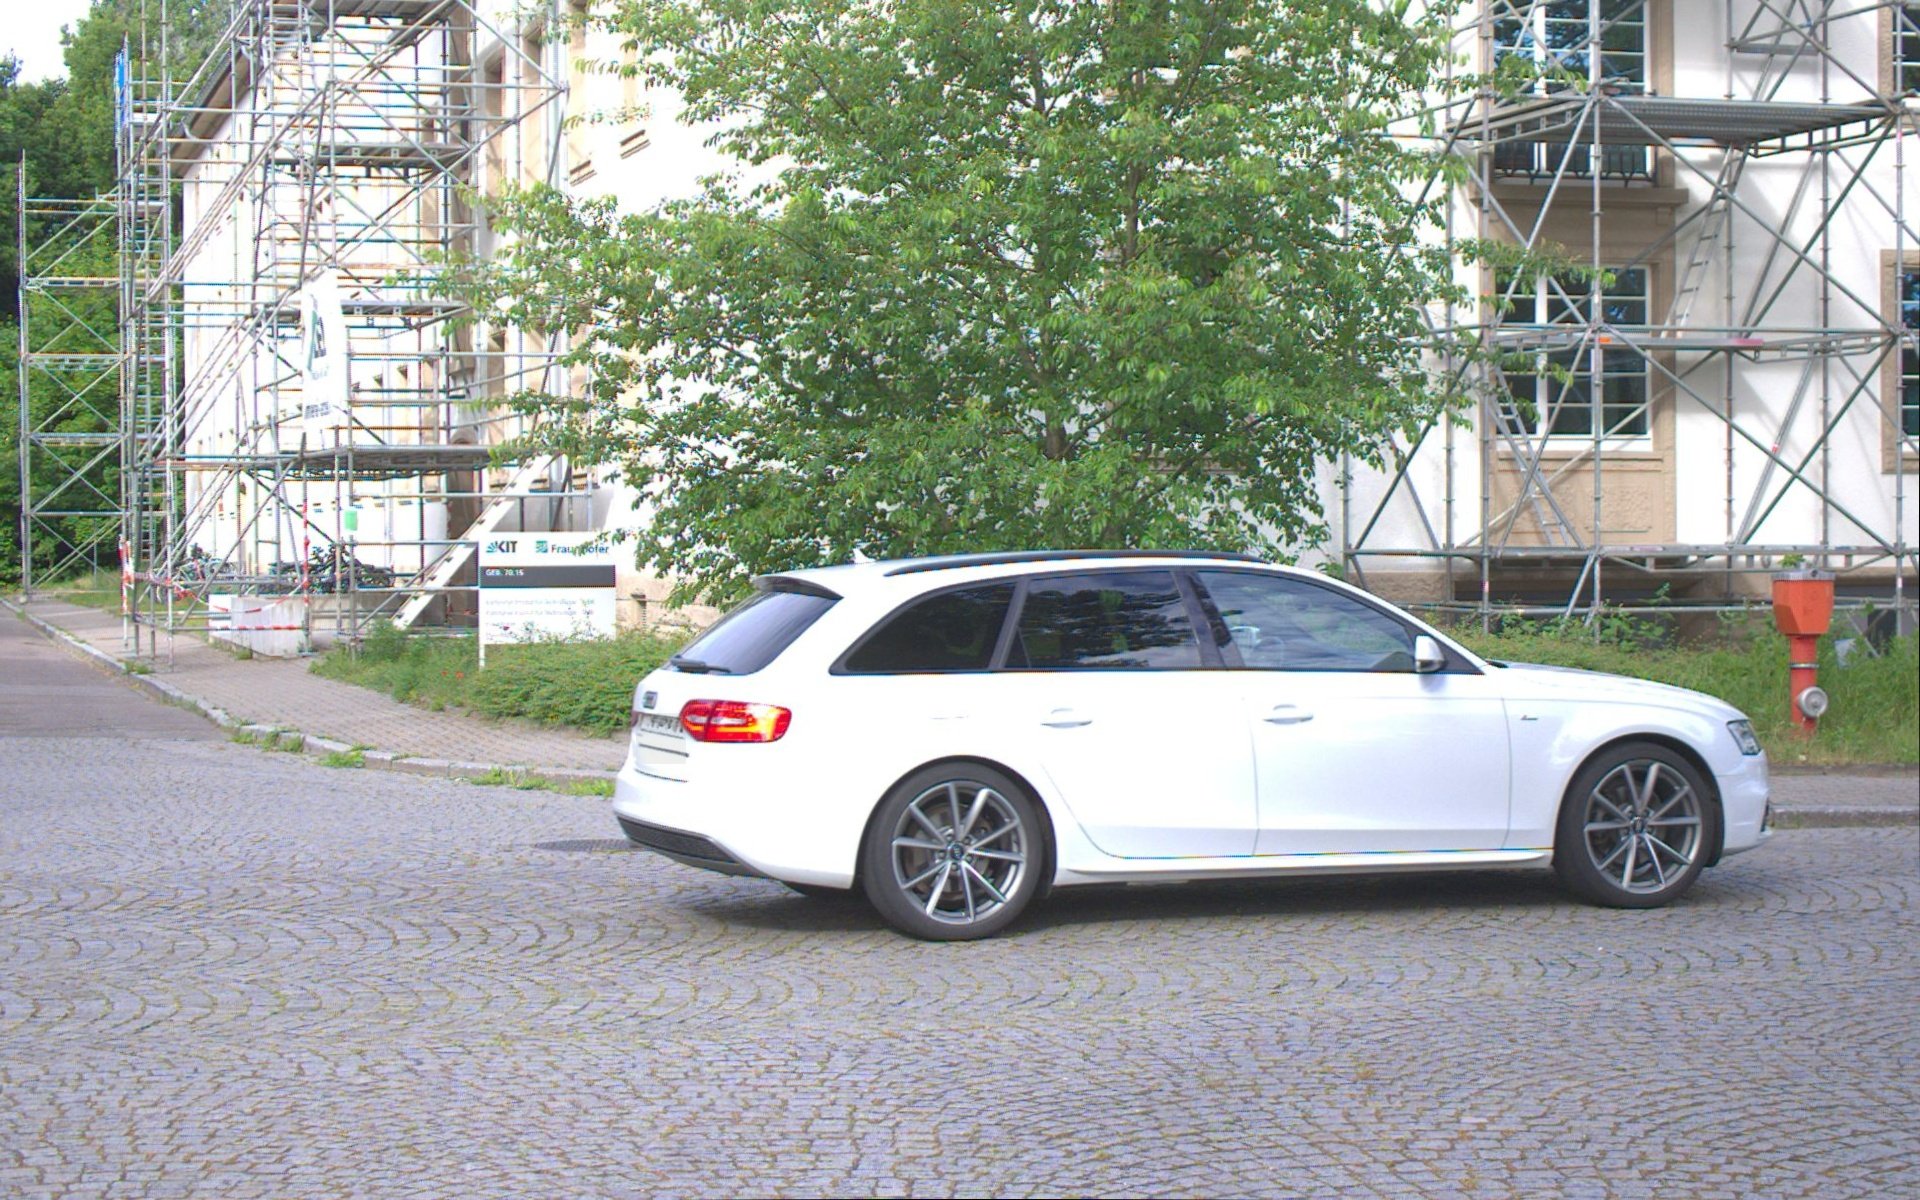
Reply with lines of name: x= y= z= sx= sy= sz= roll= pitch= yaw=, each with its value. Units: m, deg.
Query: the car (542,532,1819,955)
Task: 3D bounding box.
car: x=0.839 y=0.472 z=13.619 sx=4.689 sy=1.432 sz=1.855 roll=-1 pitch=2 yaw=-18

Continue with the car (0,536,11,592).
car: x=-28.854 y=-1.060 z=100.339 sx=2.063 sy=1.588 sz=4.001 roll=2 pitch=-1 yaw=-14
